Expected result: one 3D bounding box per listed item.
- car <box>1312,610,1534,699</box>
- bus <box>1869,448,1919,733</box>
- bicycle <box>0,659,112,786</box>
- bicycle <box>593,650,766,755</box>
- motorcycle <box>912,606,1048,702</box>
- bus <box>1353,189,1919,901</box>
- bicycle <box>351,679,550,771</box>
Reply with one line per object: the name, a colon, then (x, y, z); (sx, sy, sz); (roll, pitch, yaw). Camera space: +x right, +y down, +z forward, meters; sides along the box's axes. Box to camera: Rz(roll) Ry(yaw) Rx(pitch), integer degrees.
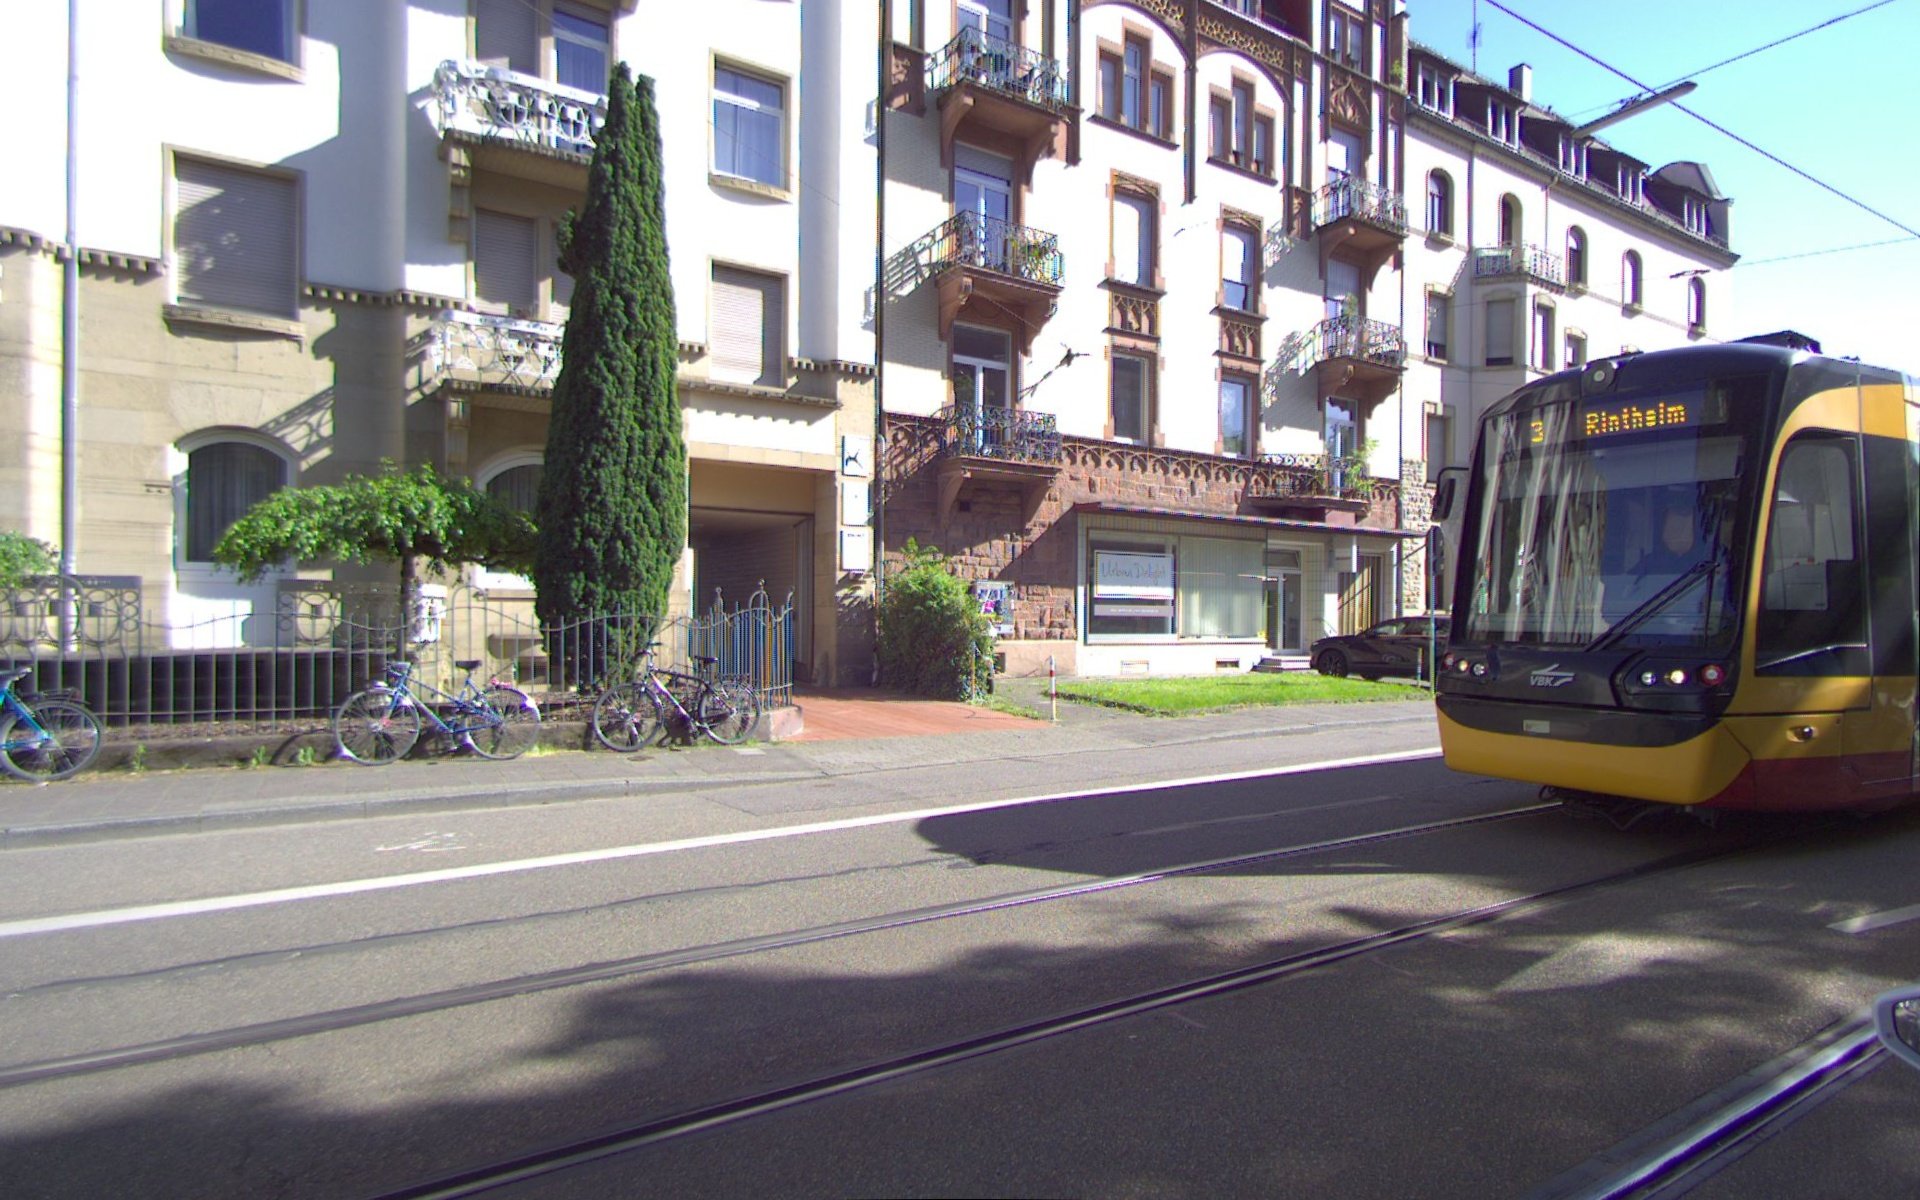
car: (9.859, 1.099, 21.651); (1.755, 1.523, 3.958); (2, 1, -36)
bus: (18.005, 0.036, 15.679); (11.062, 3.827, 2.843); (2, 0, -33)
bicycle: (-7.707, 0.941, 7.736); (1.728, 0.955, 0.402); (2, 0, -31)
bicycle: (-3.005, 1.079, 10.843); (1.728, 1.053, 0.402); (2, 0, -31)
motorcycle: (0.274, 0.884, 17.625); (0.814, 1.476, 3.067); (2, 0, -32)
bus: (8.631, -0.151, 9.694); (11.373, 3.827, 2.843); (2, 0, -33)
bicycle: (-4.761, 1.150, 9.458); (1.633, 0.772, 0.316); (2, 0, -31)
